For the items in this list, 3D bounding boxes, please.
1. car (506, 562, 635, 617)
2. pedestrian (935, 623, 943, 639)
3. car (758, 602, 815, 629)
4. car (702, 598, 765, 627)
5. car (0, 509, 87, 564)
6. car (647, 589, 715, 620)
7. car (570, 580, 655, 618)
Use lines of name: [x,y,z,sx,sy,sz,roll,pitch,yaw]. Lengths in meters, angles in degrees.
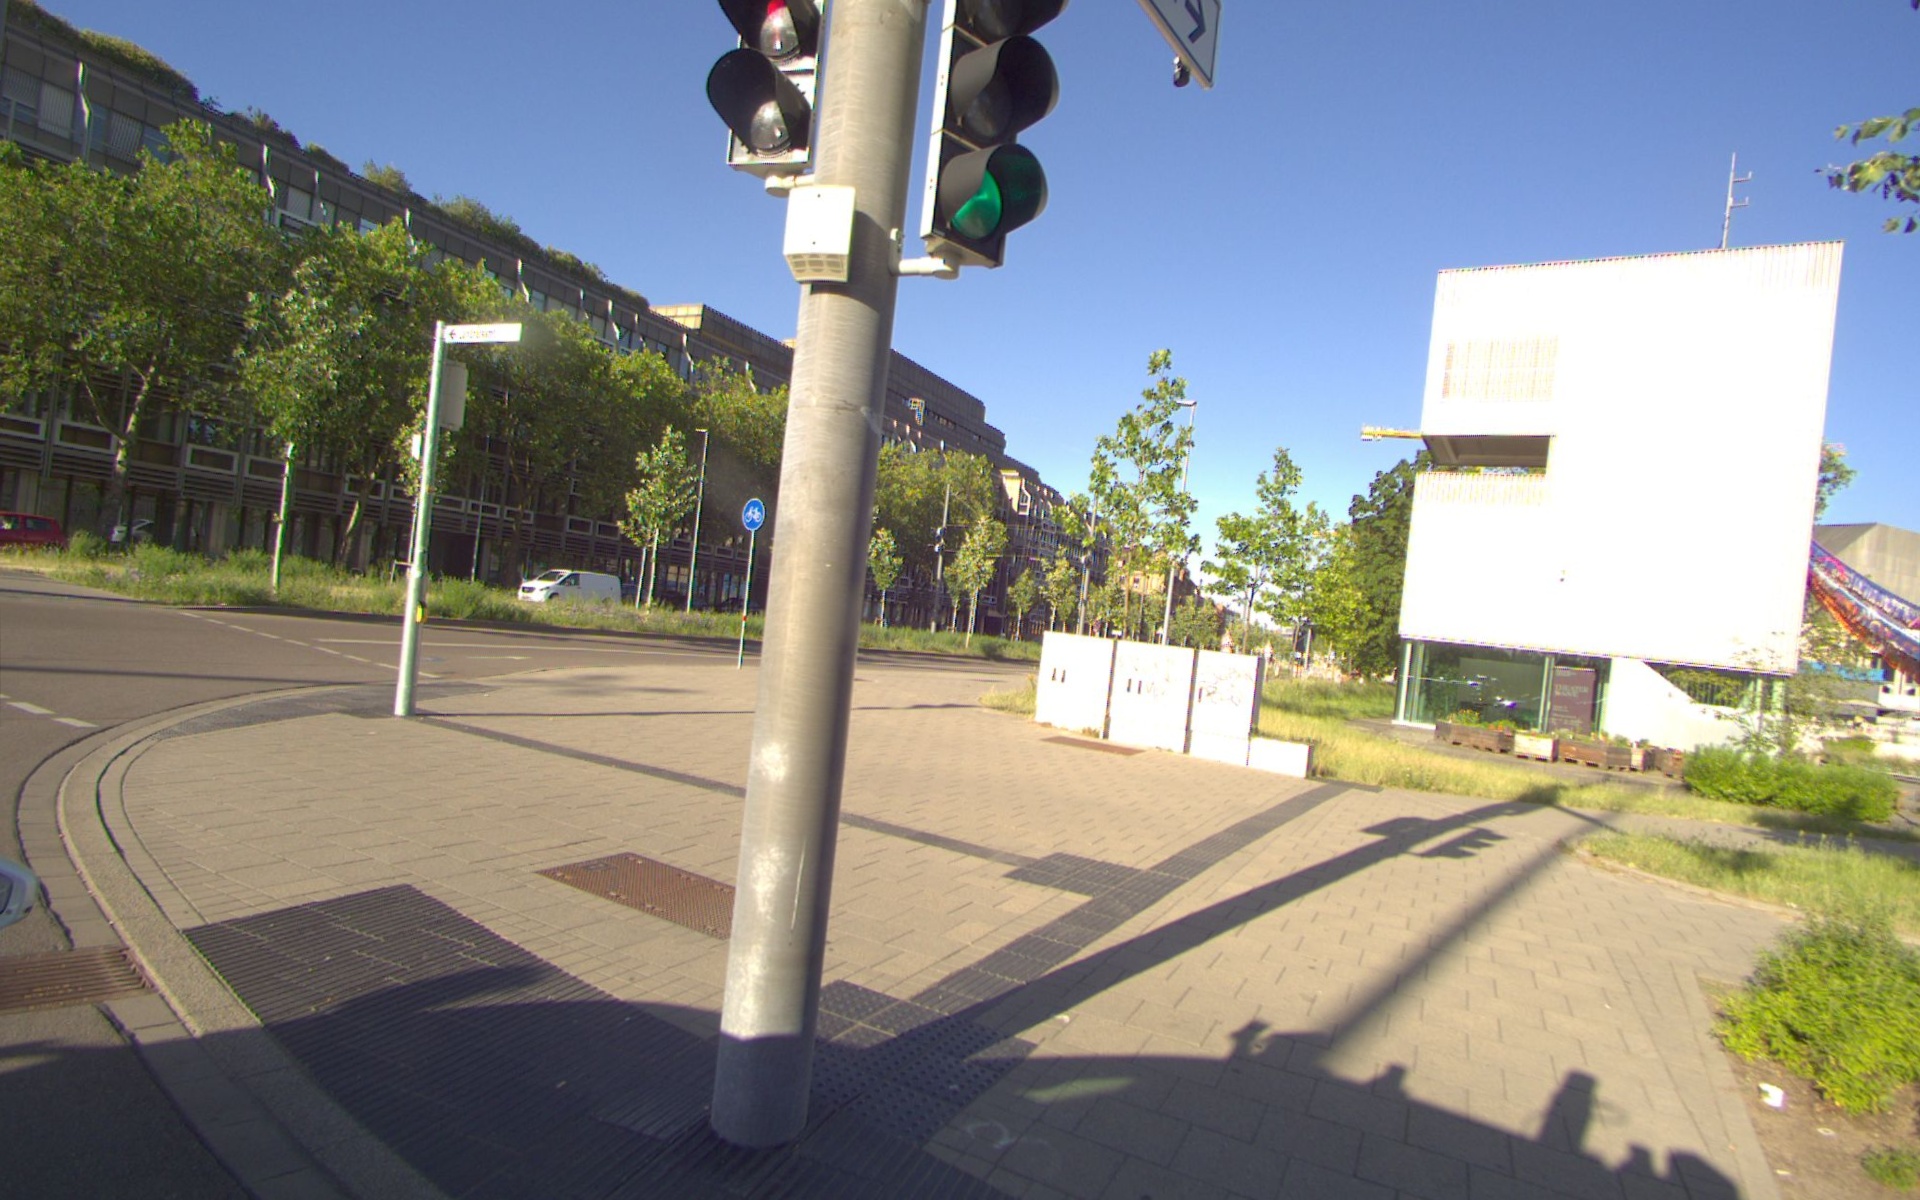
car: [-18.830,-0.461,48.917,2.227,2.037,5.705,4,-3,27]
pedestrian: [-2.170,3.164,103.630,0.654,1.550,0.649,6,0,-5]
car: [-13.276,1.240,77.307,1.884,1.651,4.357,4,-3,29]
car: [-16.027,0.922,71.293,1.718,1.575,4.621,8,-1,26]
car: [-31.010,-2.124,32.436,1.815,1.503,3.875,3,-3,29]
car: [-18.383,0.321,66.452,1.966,1.539,3.995,7,-1,30]
car: [-21.136,-0.033,61.367,1.964,1.700,4.868,8,-1,25]
